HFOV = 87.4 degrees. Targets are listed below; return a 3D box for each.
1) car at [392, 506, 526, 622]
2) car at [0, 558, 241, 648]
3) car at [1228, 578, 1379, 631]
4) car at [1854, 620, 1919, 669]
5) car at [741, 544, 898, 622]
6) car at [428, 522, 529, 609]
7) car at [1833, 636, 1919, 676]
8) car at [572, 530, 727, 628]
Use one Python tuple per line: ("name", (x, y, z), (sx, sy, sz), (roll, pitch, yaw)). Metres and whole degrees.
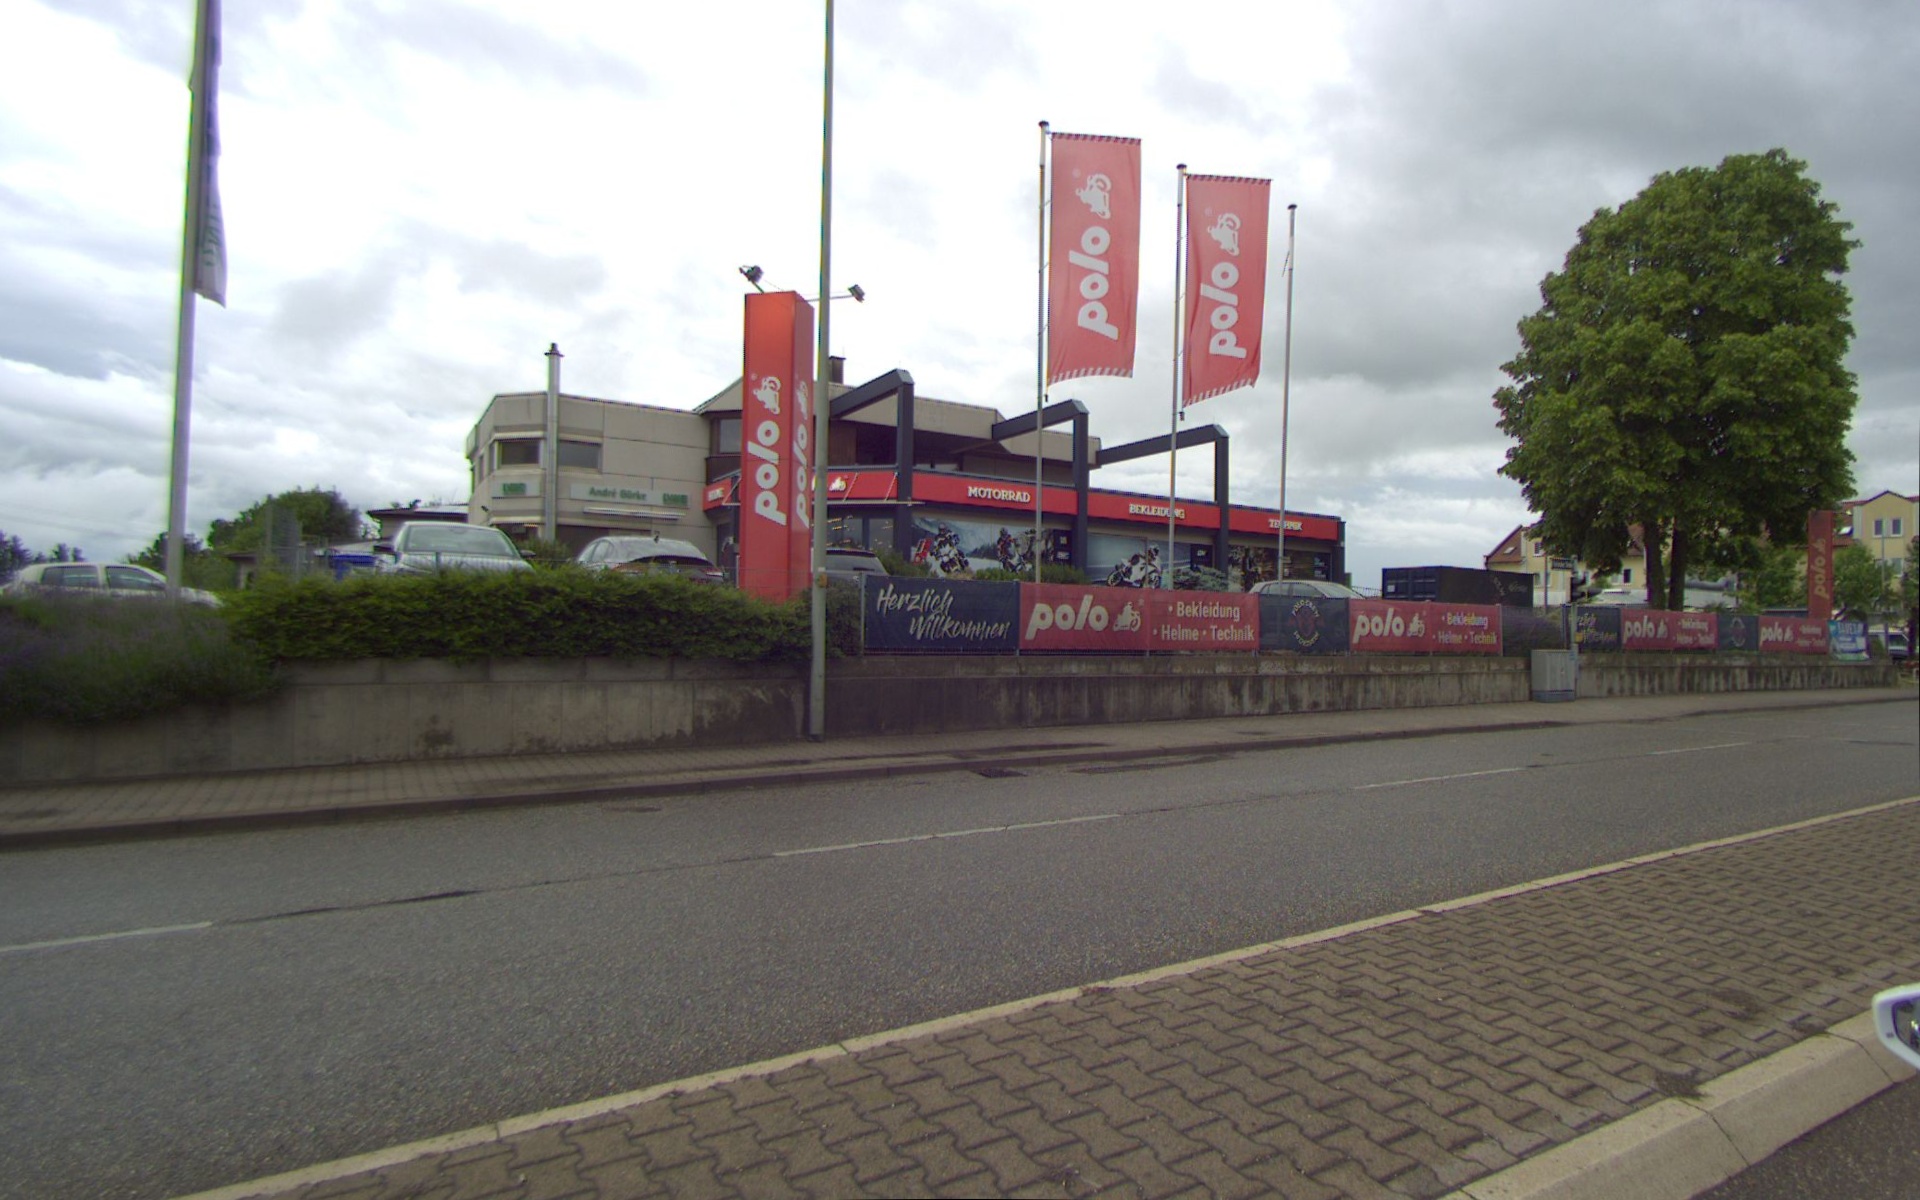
("car", (-6.818, -0.382, 13.583), (1.436, 1.355, 3.371), (1, -2, -29))
("car", (-16.143, 0.090, 19.535), (3.346, 1.617, 1.520), (1, -1, -30))
("car", (8.313, 0.148, 24.562), (1.438, 1.183, 3.368), (1, -2, -32))
("car", (40.960, 1.882, 42.512), (4.324, 2.040, 1.996), (-2, -3, 32))
("car", (-2.480, -0.218, 17.156), (1.438, 1.183, 3.368), (1, -2, -32))
("car", (-9.539, -0.601, 19.805), (1.438, 1.492, 3.368), (1, -2, -32))
("car", (42.575, 2.526, 44.993), (4.927, 1.724, 1.996), (-2, -6, 32))
("car", (-4.776, -0.234, 15.187), (1.438, 1.294, 3.368), (1, -2, -32))
